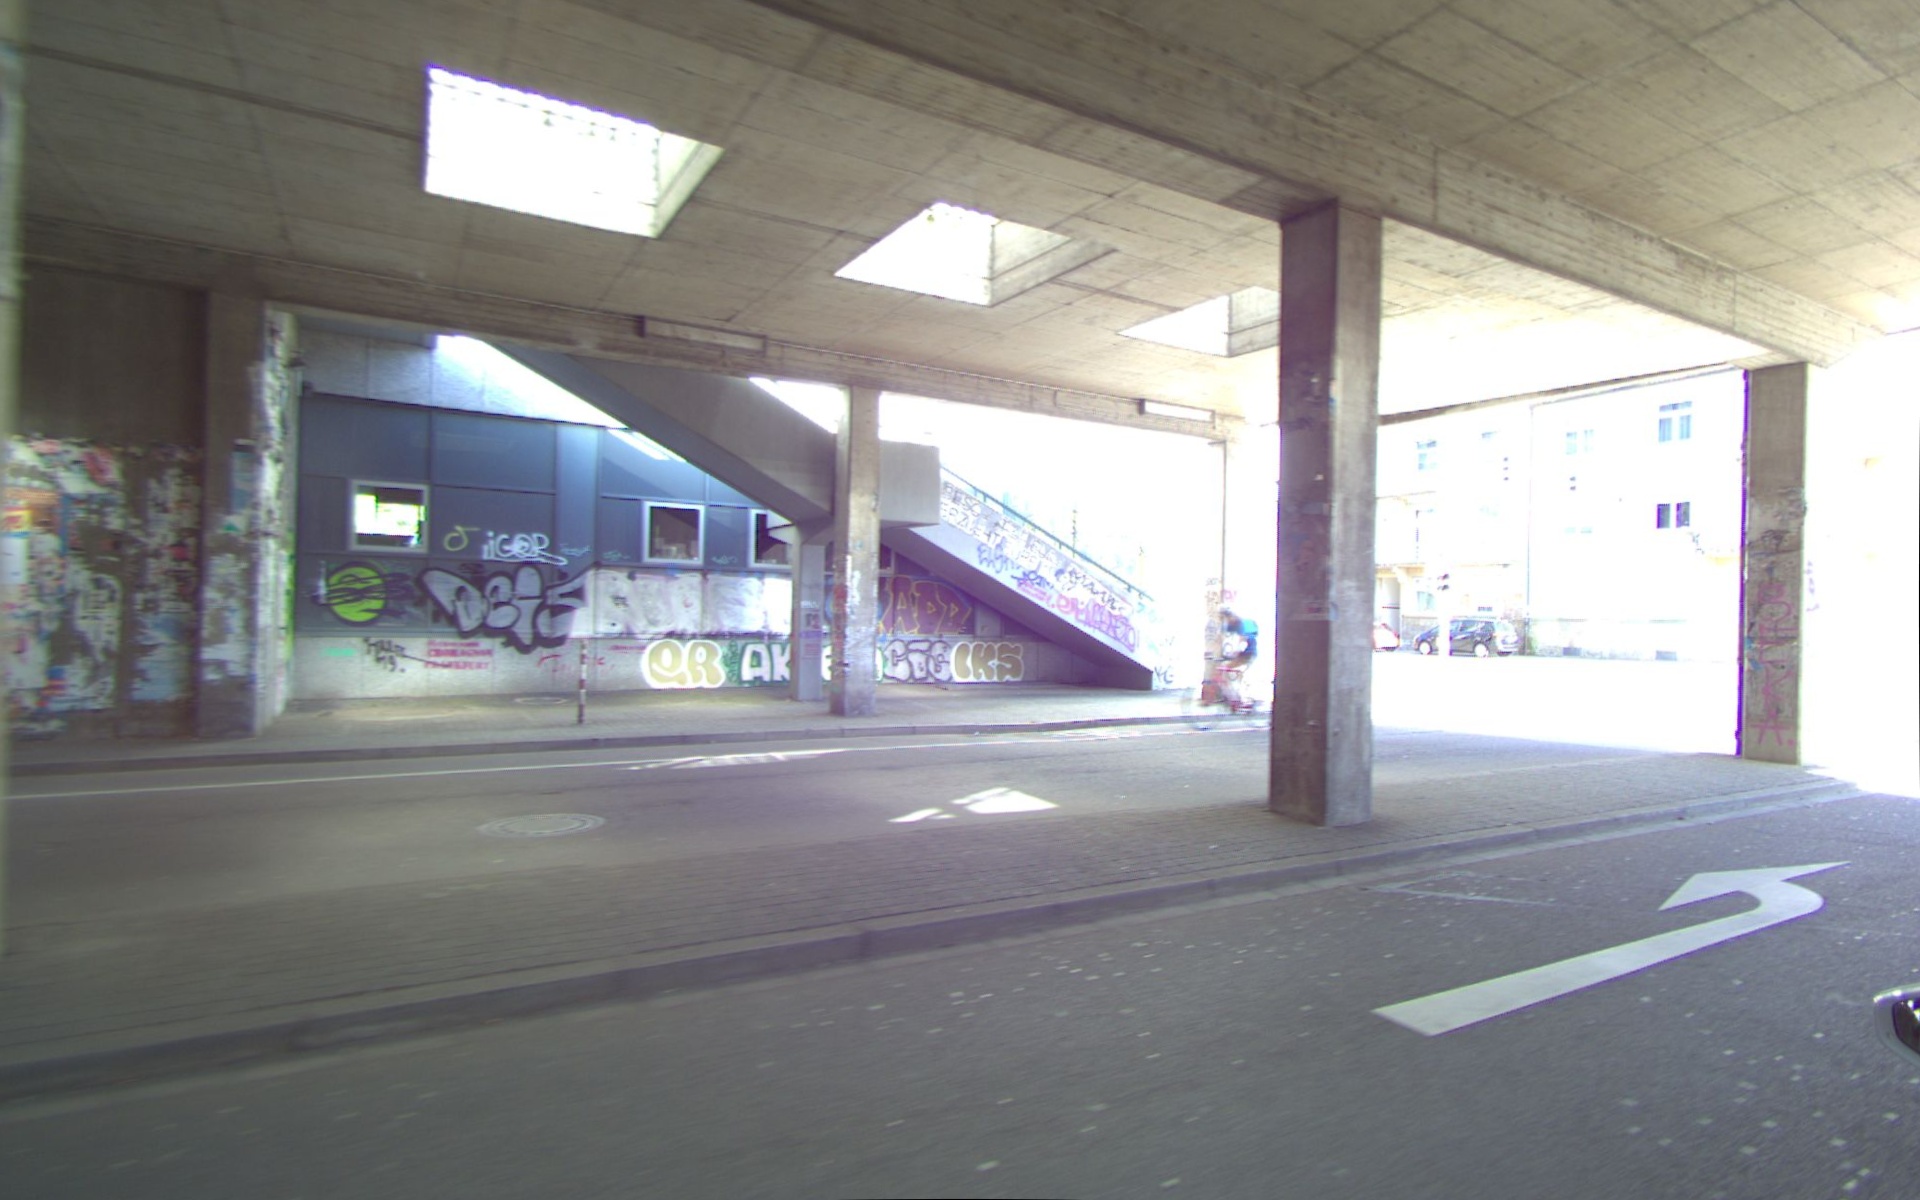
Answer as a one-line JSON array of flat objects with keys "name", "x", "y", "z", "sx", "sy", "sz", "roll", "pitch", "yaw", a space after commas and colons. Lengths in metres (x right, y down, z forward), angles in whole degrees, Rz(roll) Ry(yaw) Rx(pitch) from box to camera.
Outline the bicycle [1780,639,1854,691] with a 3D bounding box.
[{"name": "bicycle", "x": 19.313, "y": 1.457, "z": 22.636, "sx": 1.834, "sy": 1.105, "sz": 0.524, "roll": 1, "pitch": -1, "yaw": -24}]

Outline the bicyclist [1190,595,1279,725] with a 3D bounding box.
[{"name": "bicyclist", "x": 3.835, "y": 0.808, "z": 14.024, "sx": 0.956, "sy": 1.734, "sz": 0.742, "roll": -1, "pitch": 0, "yaw": -31}]

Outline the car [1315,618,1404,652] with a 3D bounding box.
[{"name": "car", "x": 19.802, "y": 1.713, "z": 49.917, "sx": 1.875, "sy": 1.561, "sz": 3.862, "roll": 0, "pitch": 0, "yaw": -28}]

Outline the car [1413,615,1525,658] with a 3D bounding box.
[{"name": "car", "x": 22.655, "y": 1.589, "z": 44.864, "sx": 1.938, "sy": 1.747, "sz": 4.143, "roll": 0, "pitch": 0, "yaw": -28}]

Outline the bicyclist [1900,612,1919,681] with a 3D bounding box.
[{"name": "bicyclist", "x": 23.800, "y": 1.143, "z": 24.655, "sx": 1.018, "sy": 1.682, "sz": 0.779, "roll": 1, "pitch": -1, "yaw": -28}]

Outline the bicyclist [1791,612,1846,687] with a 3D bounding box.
[{"name": "bicyclist", "x": 19.329, "y": 1.108, "z": 22.621, "sx": 0.897, "sy": 1.654, "sz": 0.604, "roll": 1, "pitch": -1, "yaw": -24}]

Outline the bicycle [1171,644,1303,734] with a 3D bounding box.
[{"name": "bicycle", "x": 3.880, "y": 1.216, "z": 14.039, "sx": 1.838, "sy": 1.105, "sz": 0.695, "roll": -1, "pitch": 0, "yaw": -31}]

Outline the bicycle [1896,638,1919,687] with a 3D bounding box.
[{"name": "bicycle", "x": 23.748, "y": 1.523, "z": 24.627, "sx": 2.033, "sy": 1.138, "sz": 0.539, "roll": 1, "pitch": -1, "yaw": -28}]

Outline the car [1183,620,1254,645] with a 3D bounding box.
[{"name": "car", "x": 14.991, "y": 1.865, "z": 58.356, "sx": 1.974, "sy": 1.381, "sz": 3.814, "roll": 0, "pitch": 0, "yaw": -27}]
